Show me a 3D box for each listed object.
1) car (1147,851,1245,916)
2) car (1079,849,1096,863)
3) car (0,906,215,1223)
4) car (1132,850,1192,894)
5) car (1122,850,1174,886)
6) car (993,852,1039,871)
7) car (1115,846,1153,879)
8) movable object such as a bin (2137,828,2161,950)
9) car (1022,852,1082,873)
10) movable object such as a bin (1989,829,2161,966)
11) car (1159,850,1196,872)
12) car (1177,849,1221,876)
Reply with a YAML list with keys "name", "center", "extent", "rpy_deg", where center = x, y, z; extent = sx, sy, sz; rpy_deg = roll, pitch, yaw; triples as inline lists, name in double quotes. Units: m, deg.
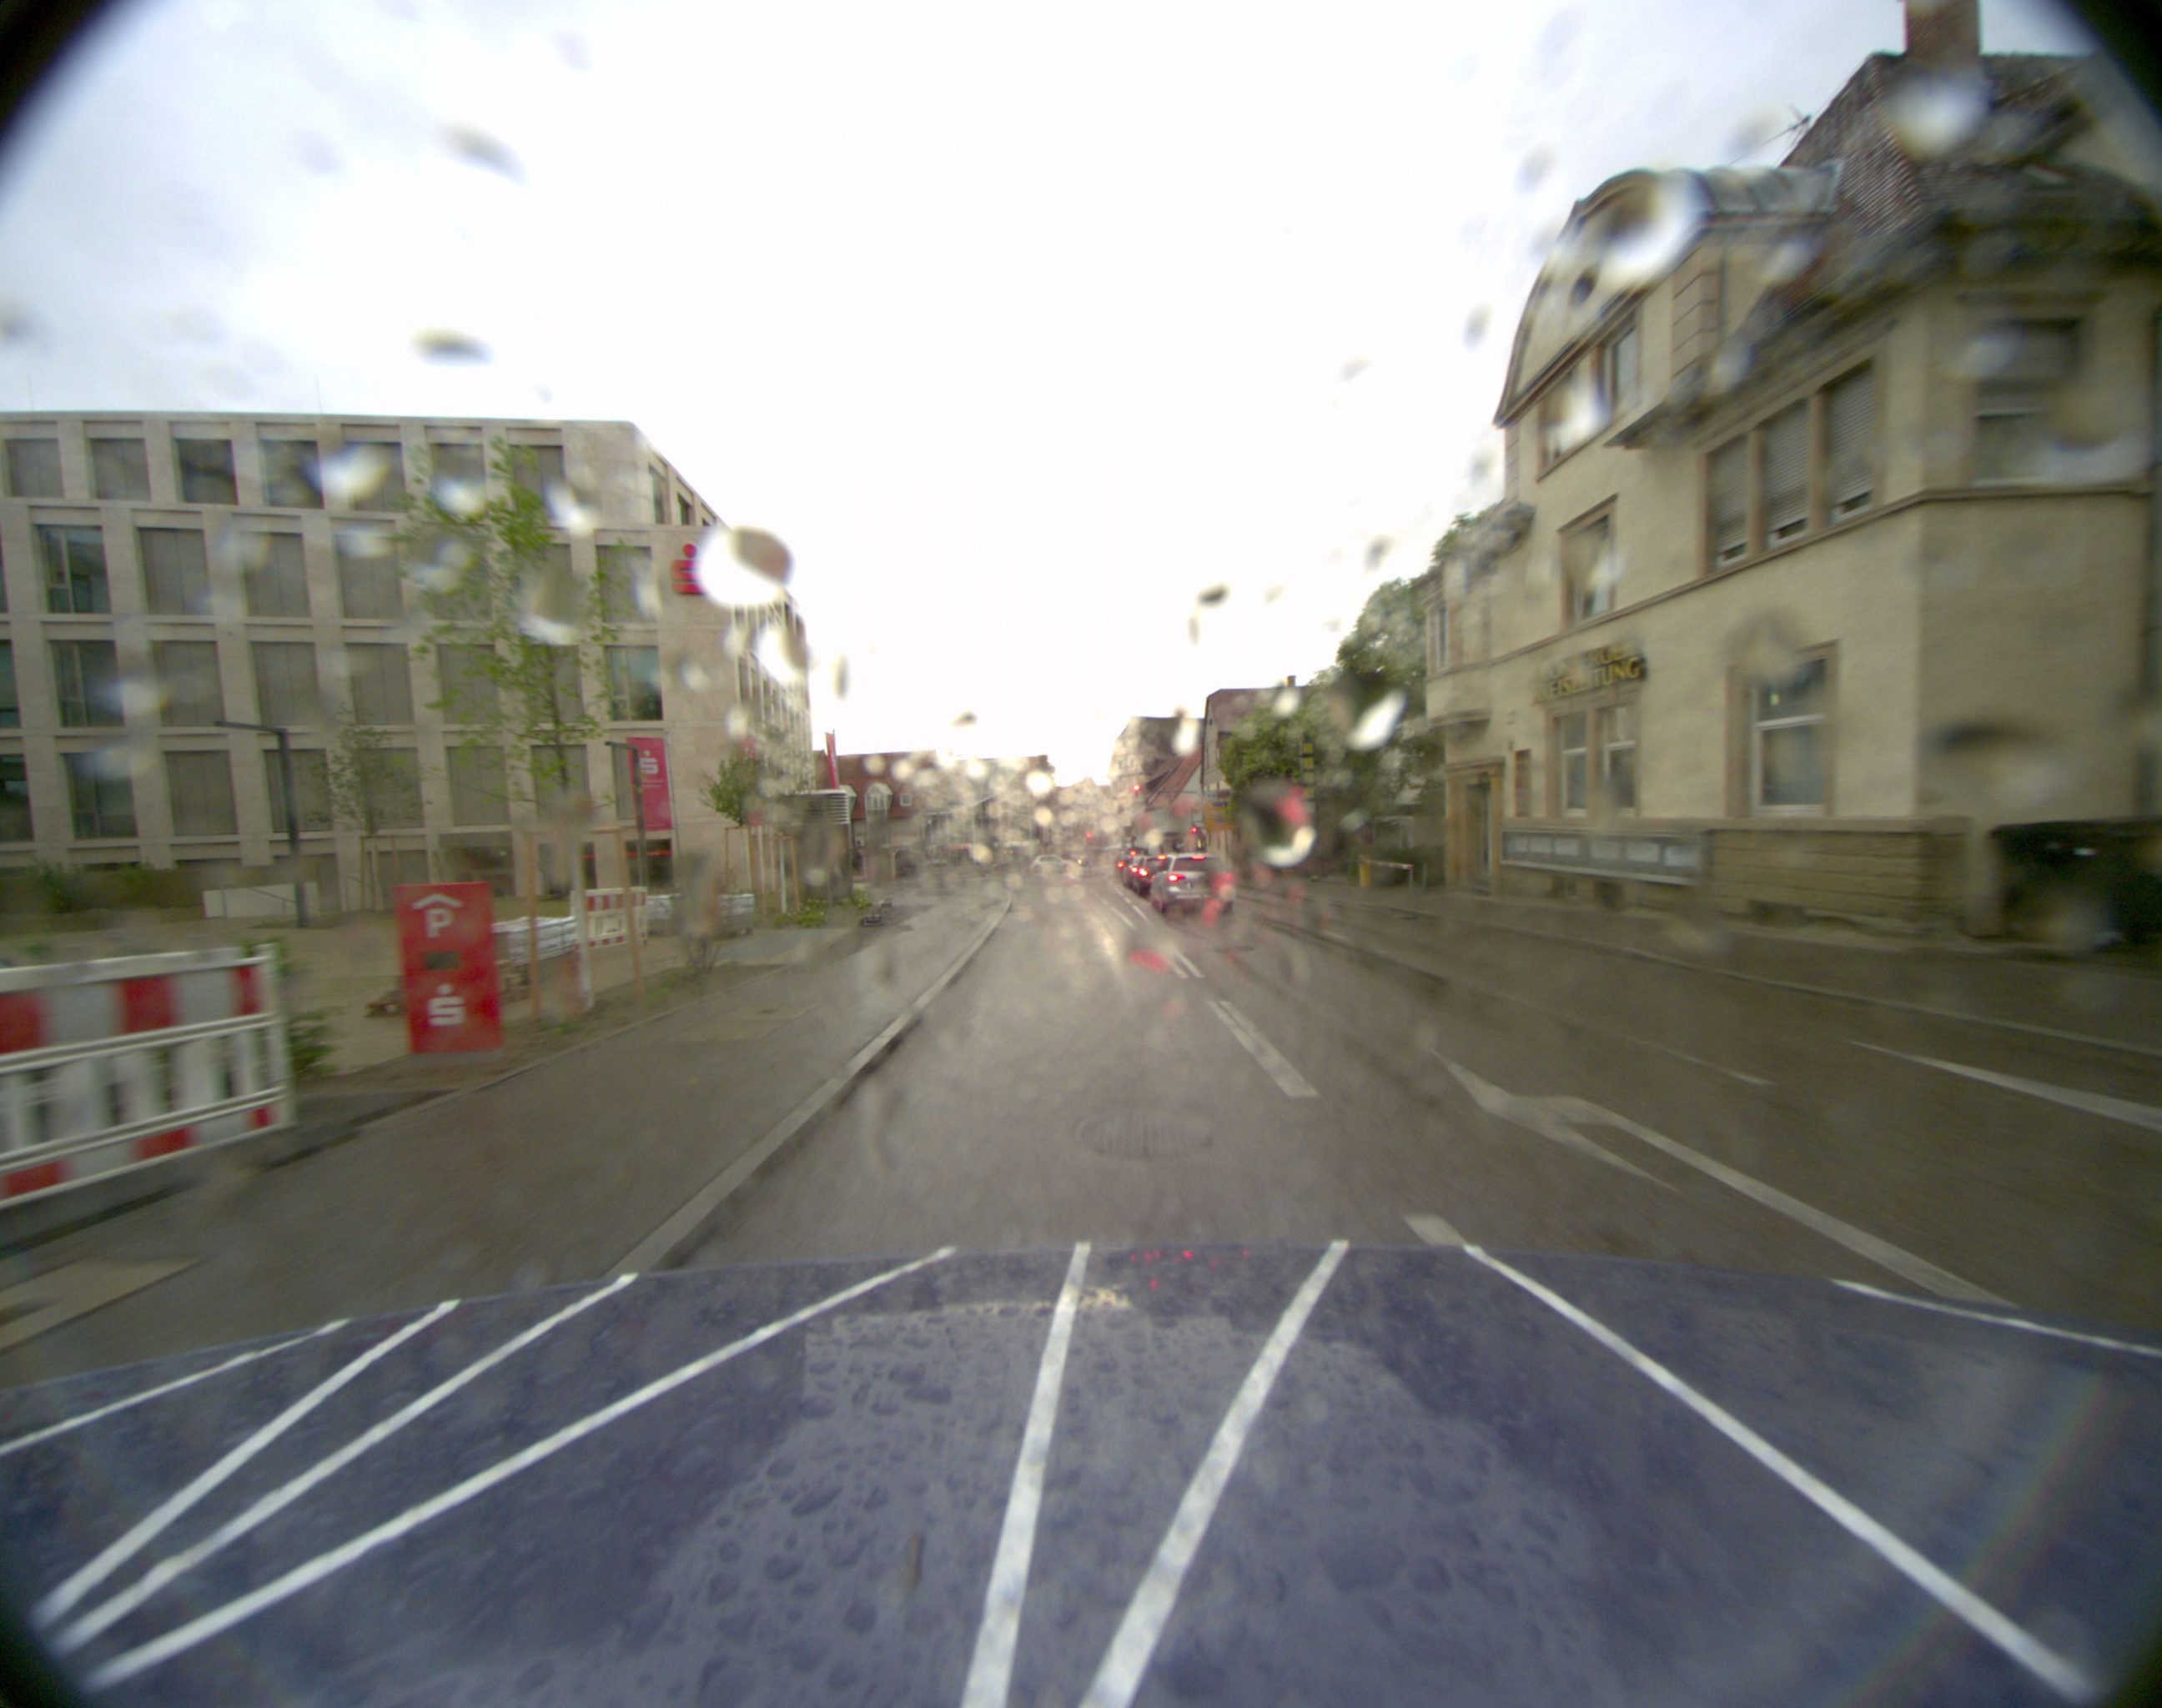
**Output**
- name: "car"
  center: [2.896, 0.680, 20.096]
  extent: [1.804, 1.431, 4.688]
  rpy_deg: [-3, 0, 0]
- name: "car"
  center: [0.741, 0.236, 93.046]
  extent: [1.727, 1.538, 3.998]
  rpy_deg: [-3, 0, -3]
- name: "car"
  center: [-7.188, 1.183, 3.768]
  extent: [3.676, 1.494, 1.776]
  rpy_deg: [-4, 0, 1]
- name: "car"
  center: [2.997, 0.621, 29.024]
  extent: [1.803, 1.431, 4.689]
  rpy_deg: [-3, 0, 1]
- name: "car"
  center: [3.011, 0.589, 35.039]
  extent: [1.946, 1.432, 5.015]
  rpy_deg: [-3, 0, 0]
- name: "car"
  center: [-6.228, 0.710, 73.325]
  extent: [3.995, 1.533, 2.001]
  rpy_deg: [-3, 1, 7]
- name: "car"
  center: [2.916, 0.417, 42.308]
  extent: [1.853, 1.654, 4.219]
  rpy_deg: [-3, 0, 1]
- name: "movable object such as a bin"
  center: [11.835, 0.337, 7.517]
  extent: [1.283, 1.259, 1.050]
  rpy_deg: [-3, 1, 0]
- name: "car"
  center: [-2.561, 0.764, 67.332]
  extent: [5.028, 1.536, 2.000]
  rpy_deg: [-3, 1, 4]
- name: "movable object such as a bin"
  center: [10.502, 0.402, 7.714]
  extent: [1.283, 1.259, 1.050]
  rpy_deg: [-3, 1, 0]
- name: "car"
  center: [6.057, 0.409, 48.125]
  extent: [1.853, 1.286, 4.032]
  rpy_deg: [-3, 0, 1]
- name: "car"
  center: [6.453, 0.418, 41.977]
  extent: [1.742, 1.346, 4.059]
  rpy_deg: [-3, 0, 0]
